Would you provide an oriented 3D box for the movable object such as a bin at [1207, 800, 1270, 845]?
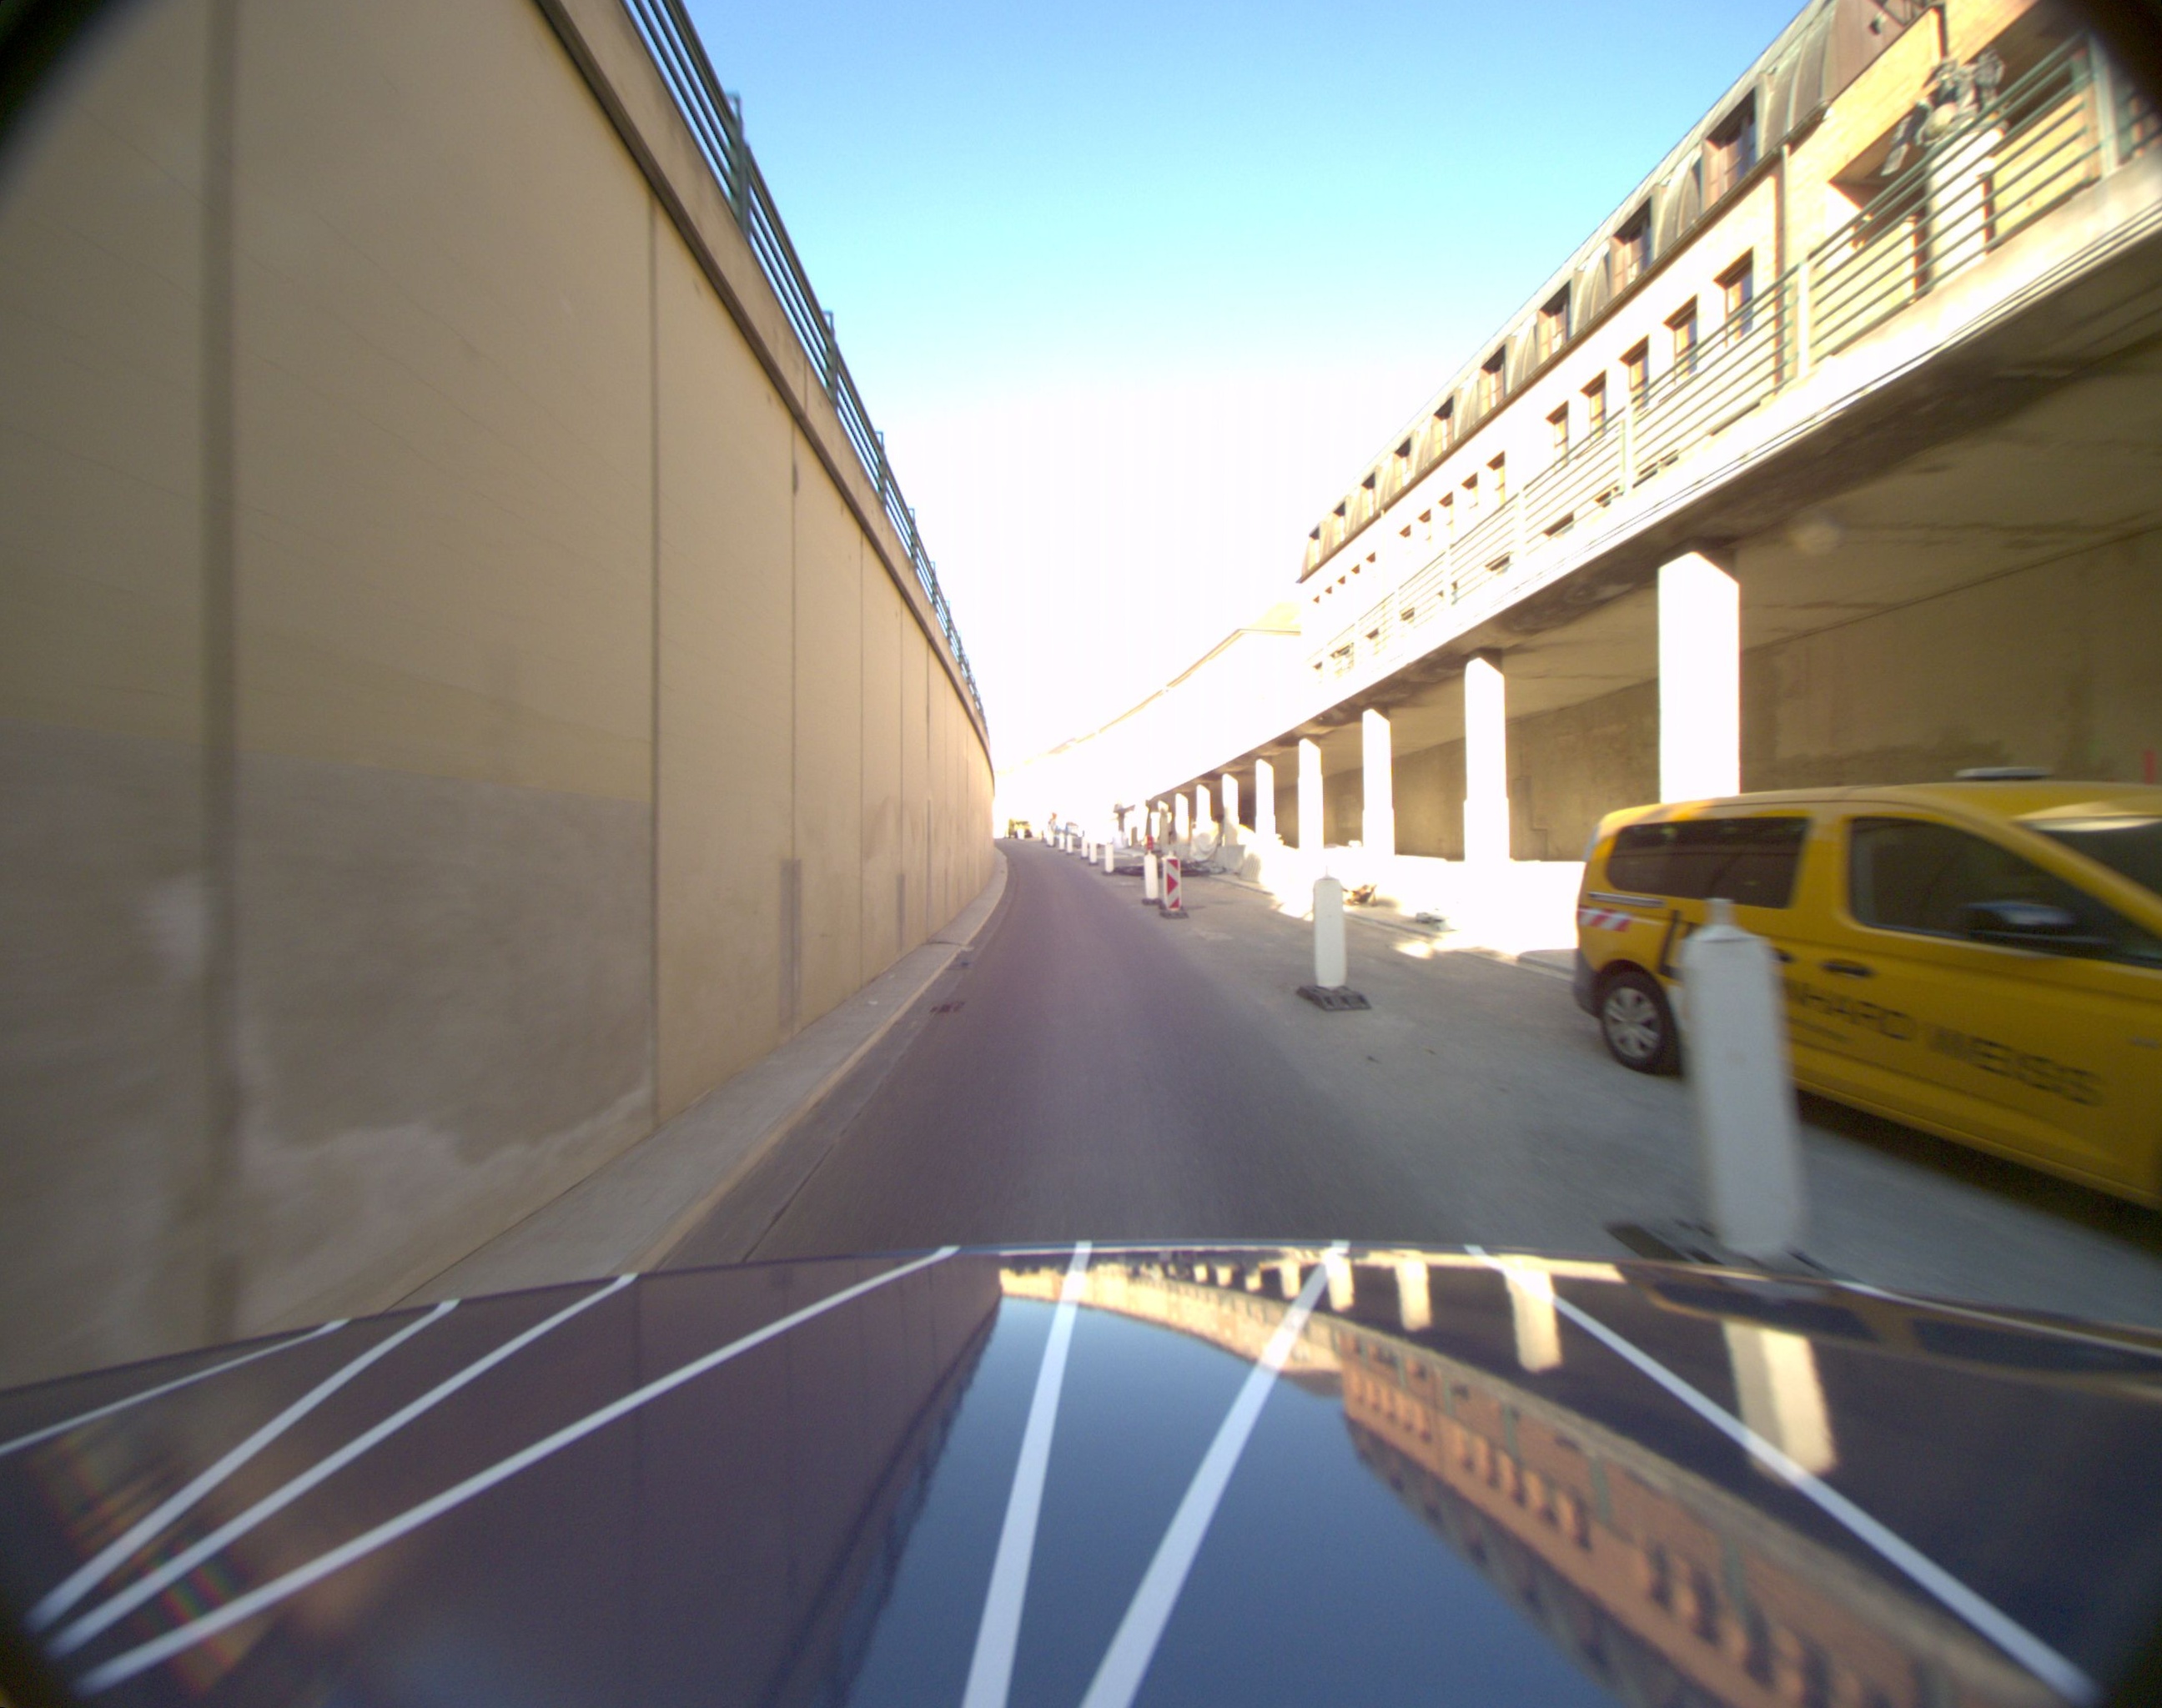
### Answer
[{"bbox_3d":[7.289,-1.456,35.479,1.891,1.976,3.155,-2,3,-8],"label":"movable object such as a bin"}]

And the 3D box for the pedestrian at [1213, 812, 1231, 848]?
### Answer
[{"bbox_3d":[7.233,-1.217,38.959,0.706,1.805,0.709,-3,3,-8],"label":"pedestrian"}]

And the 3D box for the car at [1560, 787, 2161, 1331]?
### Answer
[{"bbox_3d":[4.410,0.635,3.276,1.853,1.765,4.433,-2,1,0],"label":"car"}]

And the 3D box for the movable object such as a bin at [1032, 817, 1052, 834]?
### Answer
[{"bbox_3d":[-6.038,-4.370,116.532,2.107,2.381,4.301,1,0,-16],"label":"movable object such as a bin"}]

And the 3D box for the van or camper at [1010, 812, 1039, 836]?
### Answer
[{"bbox_3d":[-6.676,-3.551,88.812,2.202,2.598,6.813,-3,3,-14],"label":"van or camper"}]

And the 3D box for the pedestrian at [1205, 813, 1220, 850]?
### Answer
[{"bbox_3d":[6.601,-1.145,38.169,0.658,1.795,0.624,-2,3,2],"label":"pedestrian"}]
